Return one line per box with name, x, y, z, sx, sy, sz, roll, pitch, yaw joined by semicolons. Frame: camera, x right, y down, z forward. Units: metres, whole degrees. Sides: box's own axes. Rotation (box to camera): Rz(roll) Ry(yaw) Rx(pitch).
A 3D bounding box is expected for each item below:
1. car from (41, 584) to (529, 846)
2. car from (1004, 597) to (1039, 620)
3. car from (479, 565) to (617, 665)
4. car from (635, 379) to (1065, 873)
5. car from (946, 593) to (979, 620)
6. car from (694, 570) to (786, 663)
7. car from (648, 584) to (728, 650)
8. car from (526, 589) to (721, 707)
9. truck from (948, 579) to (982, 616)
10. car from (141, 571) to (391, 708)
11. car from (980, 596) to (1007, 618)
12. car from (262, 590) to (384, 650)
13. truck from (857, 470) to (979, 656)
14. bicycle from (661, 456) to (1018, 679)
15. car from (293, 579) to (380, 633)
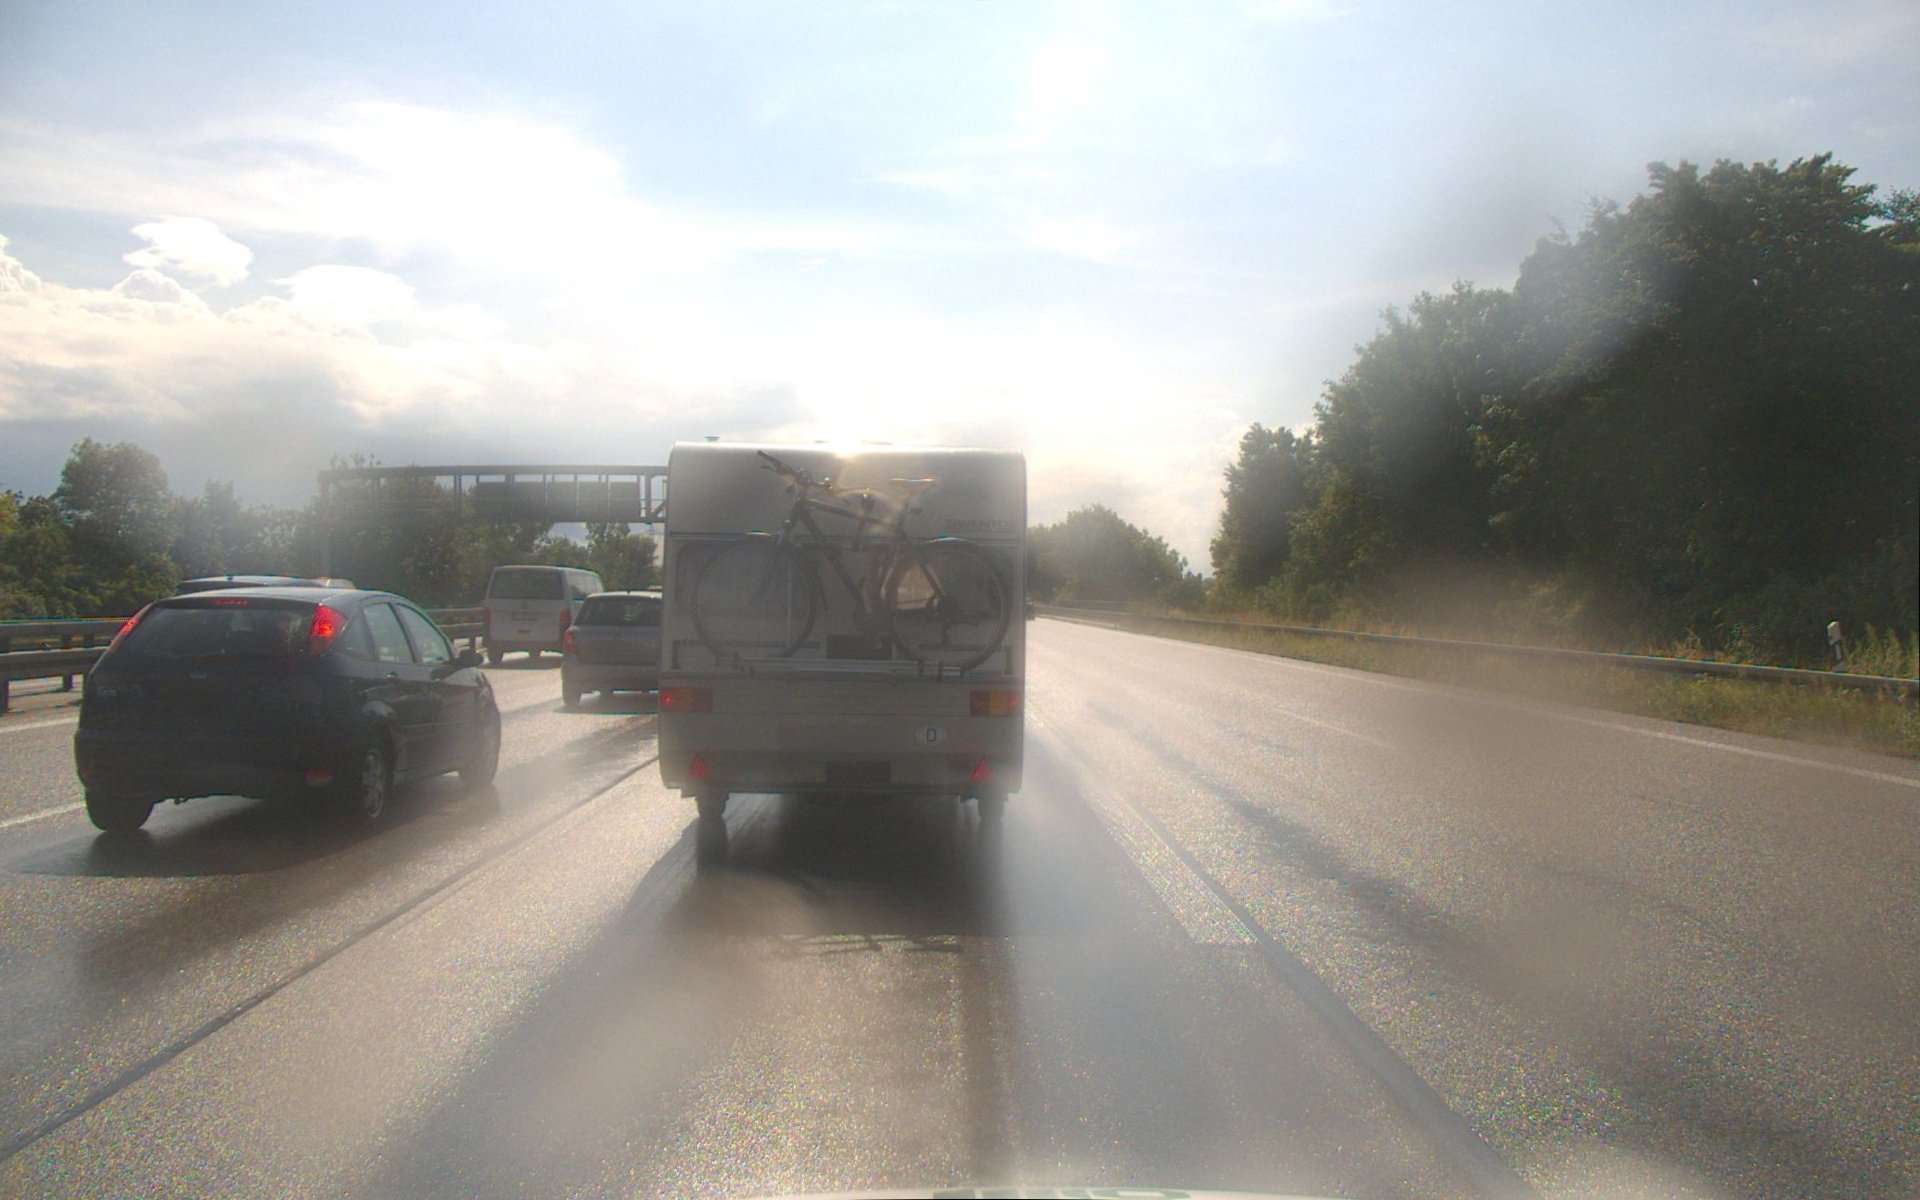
car;-4.335;0.644;11.349;1.723;1.468;4.000;1;0;-1
car;4.119;0.556;111.435;1.840;1.521;3.996;1;0;-5
car;-8.698;0.277;35.331;1.810;1.967;5.014;1;0;-2
car;-0.628;0.150;11.240;2.361;2.721;3.999;1;0;-1
car;0.135;0.403;99.646;1.798;1.585;3.998;1;0;-2
car;-5.111;0.369;38.888;1.839;2.049;3.997;1;0;-4
car;-7.280;0.444;44.574;1.737;1.691;3.997;1;0;-4
car;-4.559;0.603;22.955;1.947;1.483;3.826;1;0;-1
truck;0.326;-0.194;116.884;2.366;2.486;6.052;1;0;-1
car;-8.918;0.460;21.618;1.747;1.606;3.914;1;0;-3
car;2.627;0.543;130.025;1.839;1.657;3.998;1;0;-2
car;-16.407;0.490;42.773;1.633;1.467;3.999;0;0;-1
truck;-1.272;-0.952;47.478;3.083;4.707;10.731;0;0;-2
bicycle;-0.643;-0.174;9.041;1.894;1.161;0.384;1;0;0
car;-24.333;0.219;64.719;1.954;2.049;4.360;1;0;-3
